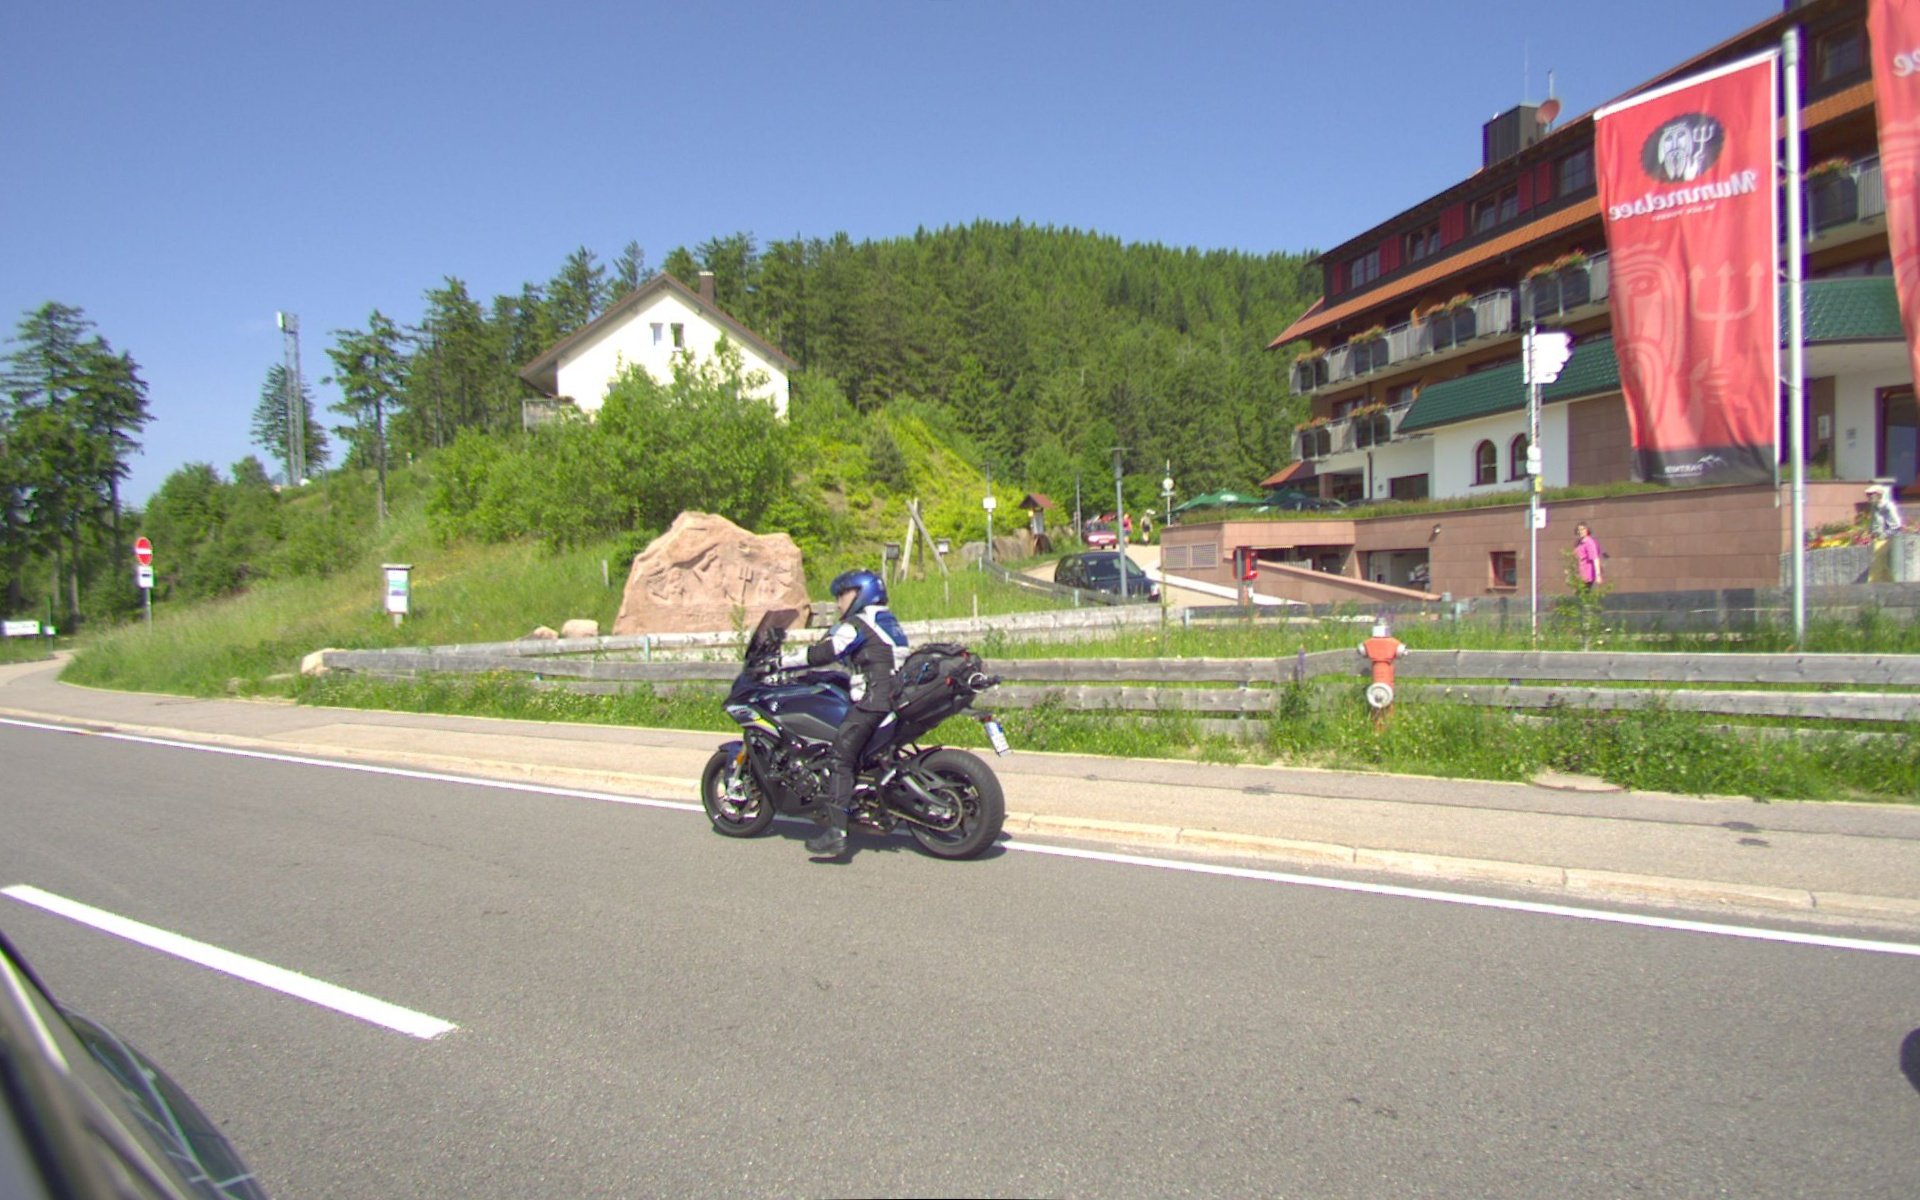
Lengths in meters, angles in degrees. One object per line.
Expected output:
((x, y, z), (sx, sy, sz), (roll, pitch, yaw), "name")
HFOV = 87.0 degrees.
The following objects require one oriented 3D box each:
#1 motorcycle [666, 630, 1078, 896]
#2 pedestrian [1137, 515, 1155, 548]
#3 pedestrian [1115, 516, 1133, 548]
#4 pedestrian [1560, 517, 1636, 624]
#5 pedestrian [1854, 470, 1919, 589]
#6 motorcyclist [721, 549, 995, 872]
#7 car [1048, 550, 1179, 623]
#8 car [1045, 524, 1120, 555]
((-0.552, 0.831, 5.885), (2.317, 1.275, 0.806), (-1, 0, 29), "motorcycle")
((9.417, -3.467, 51.141), (0.565, 1.552, 0.634), (-8, 7, -12), "pedestrian")
((8.300, -3.436, 51.127), (0.565, 1.552, 0.634), (-8, 7, -12), "pedestrian")
((10.631, -0.488, 16.869), (0.687, 1.729, 0.801), (-2, 1, -25), "pedestrian")
((13.740, -1.026, 14.919), (0.565, 1.702, 0.655), (-2, 1, -25), "pedestrian")
((-0.581, 0.572, 5.881), (1.293, 1.654, 0.873), (-1, 0, 29), "motorcyclist")
((3.555, -0.404, 24.222), (1.849, 1.363, 4.011), (-1, 6, -11), "car")
((6.058, -2.970, 50.382), (1.523, 1.326, 3.862), (-2, 1, -34), "car")
